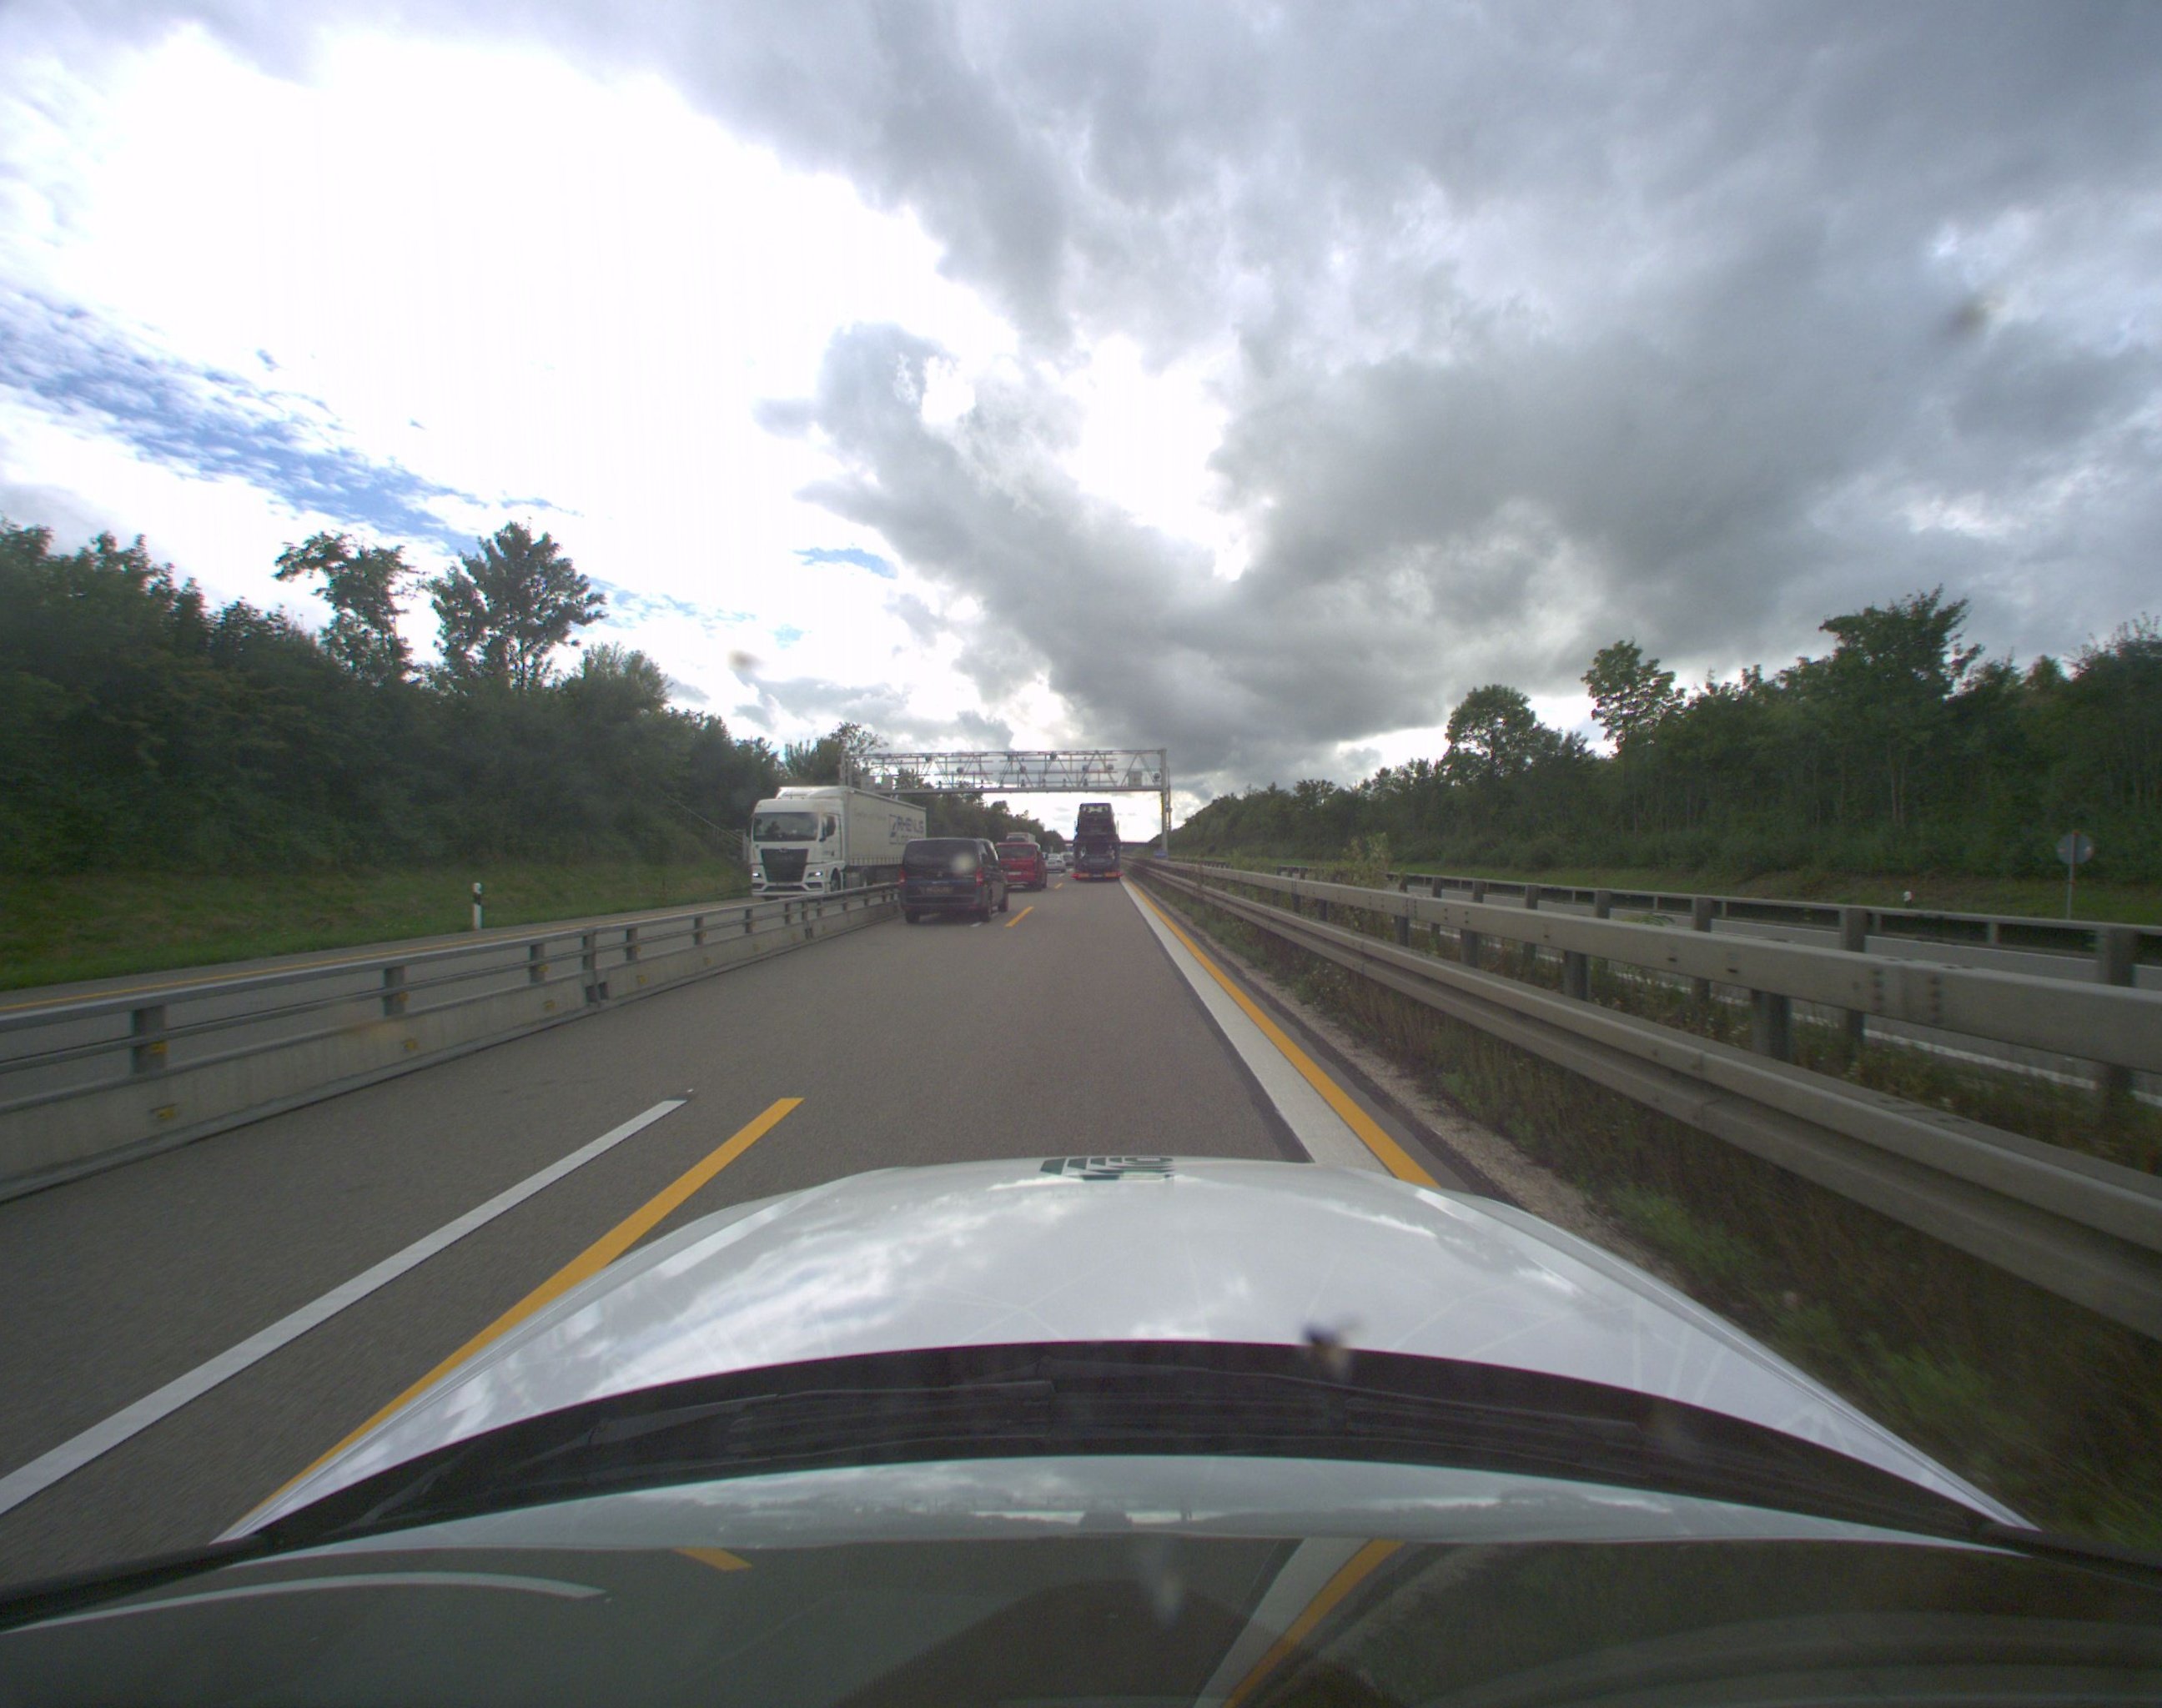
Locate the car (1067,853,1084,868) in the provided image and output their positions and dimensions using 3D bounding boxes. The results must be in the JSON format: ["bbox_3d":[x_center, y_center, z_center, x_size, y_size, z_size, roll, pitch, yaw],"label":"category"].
[{"bbox_3d":[-0.619,0.798,101.923,2.024,1.757,4.578,-1,0,0],"label":"car"}]

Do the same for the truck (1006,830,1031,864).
[{"bbox_3d":[-7.739,-0.891,101.896,2.589,4.154,5.621,0,0,1],"label":"truck"}]

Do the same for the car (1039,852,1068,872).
[{"bbox_3d":[-2.117,0.590,63.283,2.024,1.430,4.578,-1,0,1],"label":"car"}]

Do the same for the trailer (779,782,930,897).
[{"bbox_3d":[-9.508,-0.581,36.550,2.589,4.154,13.995,0,0,1],"label":"trailer"}]

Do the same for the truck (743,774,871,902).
[{"bbox_3d":[-9.662,-0.537,29.369,2.589,4.154,5.621,0,0,1],"label":"truck"}]

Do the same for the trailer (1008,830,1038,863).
[{"bbox_3d":[-7.613,-0.958,108.556,2.589,4.154,13.995,0,0,1],"label":"trailer"}]

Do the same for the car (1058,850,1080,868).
[{"bbox_3d":[-1.189,0.513,83.447,2.024,1.757,4.578,-1,0,1],"label":"car"}]

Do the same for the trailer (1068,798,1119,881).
[{"bbox_3d":[0.803,-0.720,45.969,2.506,4.105,11.118,-1,0,2],"label":"trailer"}]

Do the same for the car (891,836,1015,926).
[{"bbox_3d":[-2.909,0.563,19.890,1.986,1.843,5.611,-1,0,1],"label":"car"}]

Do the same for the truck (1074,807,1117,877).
[{"bbox_3d":[0.957,-0.707,50.715,2.506,4.105,5.687,-1,0,2],"label":"truck"}]

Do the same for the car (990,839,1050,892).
[{"bbox_3d":[-2.451,0.435,33.829,2.024,2.013,4.579,-1,0,1],"label":"car"}]
